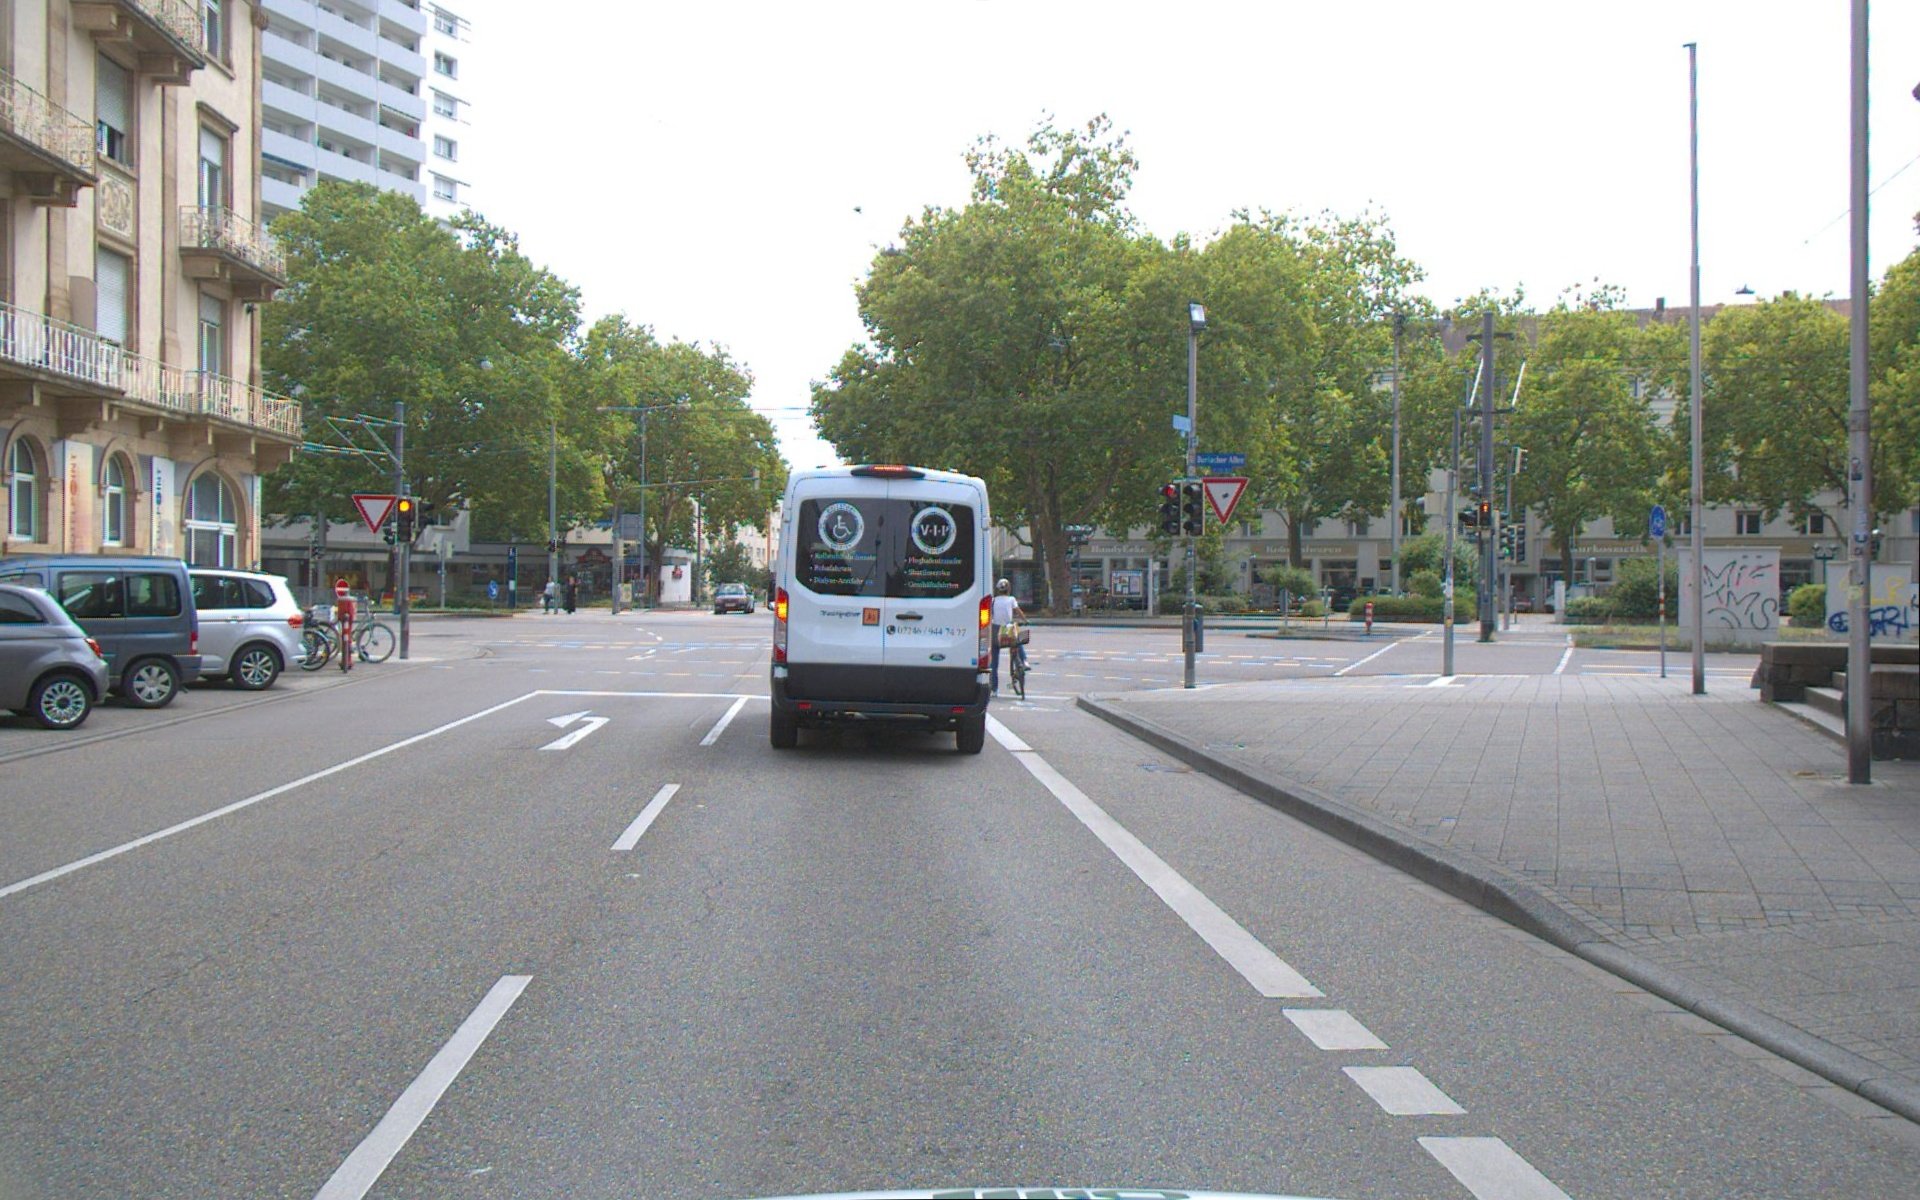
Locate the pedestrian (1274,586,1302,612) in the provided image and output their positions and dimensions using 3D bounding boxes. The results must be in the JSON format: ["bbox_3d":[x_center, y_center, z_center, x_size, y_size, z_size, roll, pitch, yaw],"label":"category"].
[{"bbox_3d":[16.358,-0.033,82.439,1.069,1.257,1.441,-2,0,0],"label":"pedestrian"}]

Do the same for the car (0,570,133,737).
[{"bbox_3d":[-10.799,0.537,16.815,3.980,1.680,1.768,0,1,-43],"label":"car"}]

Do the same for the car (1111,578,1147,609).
[{"bbox_3d":[10.816,-0.437,106.223,1.952,1.964,4.000,0,0,0],"label":"car"}]

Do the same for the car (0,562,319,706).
[{"bbox_3d":[-11.111,0.402,22.700,3.980,1.804,1.768,0,1,-43],"label":"car"}]

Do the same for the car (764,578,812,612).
[{"bbox_3d":[-8.249,-0.256,79.615,1.697,1.620,4.002,0,1,3],"label":"car"}]

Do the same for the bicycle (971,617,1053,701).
[{"bbox_3d":[0.714,0.814,23.554,0.885,1.094,1.967,0,1,-7],"label":"bicycle"}]

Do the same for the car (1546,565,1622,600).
[{"bbox_3d":[34.640,-0.969,91.902,3.904,1.916,1.858,0,0,20],"label":"car"}]

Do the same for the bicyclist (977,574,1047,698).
[{"bbox_3d":[0.725,0.498,23.335,0.886,1.713,0.755,0,0,-7],"label":"bicyclist"}]

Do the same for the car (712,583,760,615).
[{"bbox_3d":[-10.820,-0.083,80.065,1.587,1.502,4.002,0,1,3],"label":"car"}]

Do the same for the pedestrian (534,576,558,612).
[{"bbox_3d":[-18.124,-0.263,72.445,0.790,1.600,0.724,0,0,10],"label":"pedestrian"}]

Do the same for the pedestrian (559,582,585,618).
[{"bbox_3d":[-17.013,-0.007,72.490,0.909,1.541,0.724,0,0,10],"label":"pedestrian"}]

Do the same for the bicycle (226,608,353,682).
[{"bbox_3d":[-10.657,0.711,26.322,1.771,1.140,0.594,0,0,2],"label":"bicycle"}]

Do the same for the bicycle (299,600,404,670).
[{"bbox_3d":[-11.083,0.622,30.133,1.836,1.187,0.498,2,0,17],"label":"bicycle"}]

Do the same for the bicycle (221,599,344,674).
[{"bbox_3d":[-11.326,0.610,27.682,1.777,1.186,0.592,2,0,-12],"label":"bicycle"}]

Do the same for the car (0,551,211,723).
[{"bbox_3d":[-11.053,0.404,19.206,3.980,1.911,1.768,0,1,-43],"label":"car"}]

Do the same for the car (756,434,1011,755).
[{"bbox_3d":[-0.857,-0.090,16.322,2.139,2.694,4.623,0,1,-6],"label":"car"}]

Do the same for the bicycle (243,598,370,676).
[{"bbox_3d":[-10.653,0.602,26.995,1.772,1.139,0.594,4,0,0],"label":"bicycle"}]

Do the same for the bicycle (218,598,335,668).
[{"bbox_3d":[-11.946,0.575,28.946,1.777,1.140,0.592,2,0,-12],"label":"bicycle"}]

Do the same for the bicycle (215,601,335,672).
[{"bbox_3d":[-11.692,0.623,28.267,1.777,1.140,0.592,2,0,-12],"label":"bicycle"}]

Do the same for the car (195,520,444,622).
[{"bbox_3d":[-26.185,-1.176,67.634,9.680,3.984,3.456,0,0,21],"label":"car"}]
